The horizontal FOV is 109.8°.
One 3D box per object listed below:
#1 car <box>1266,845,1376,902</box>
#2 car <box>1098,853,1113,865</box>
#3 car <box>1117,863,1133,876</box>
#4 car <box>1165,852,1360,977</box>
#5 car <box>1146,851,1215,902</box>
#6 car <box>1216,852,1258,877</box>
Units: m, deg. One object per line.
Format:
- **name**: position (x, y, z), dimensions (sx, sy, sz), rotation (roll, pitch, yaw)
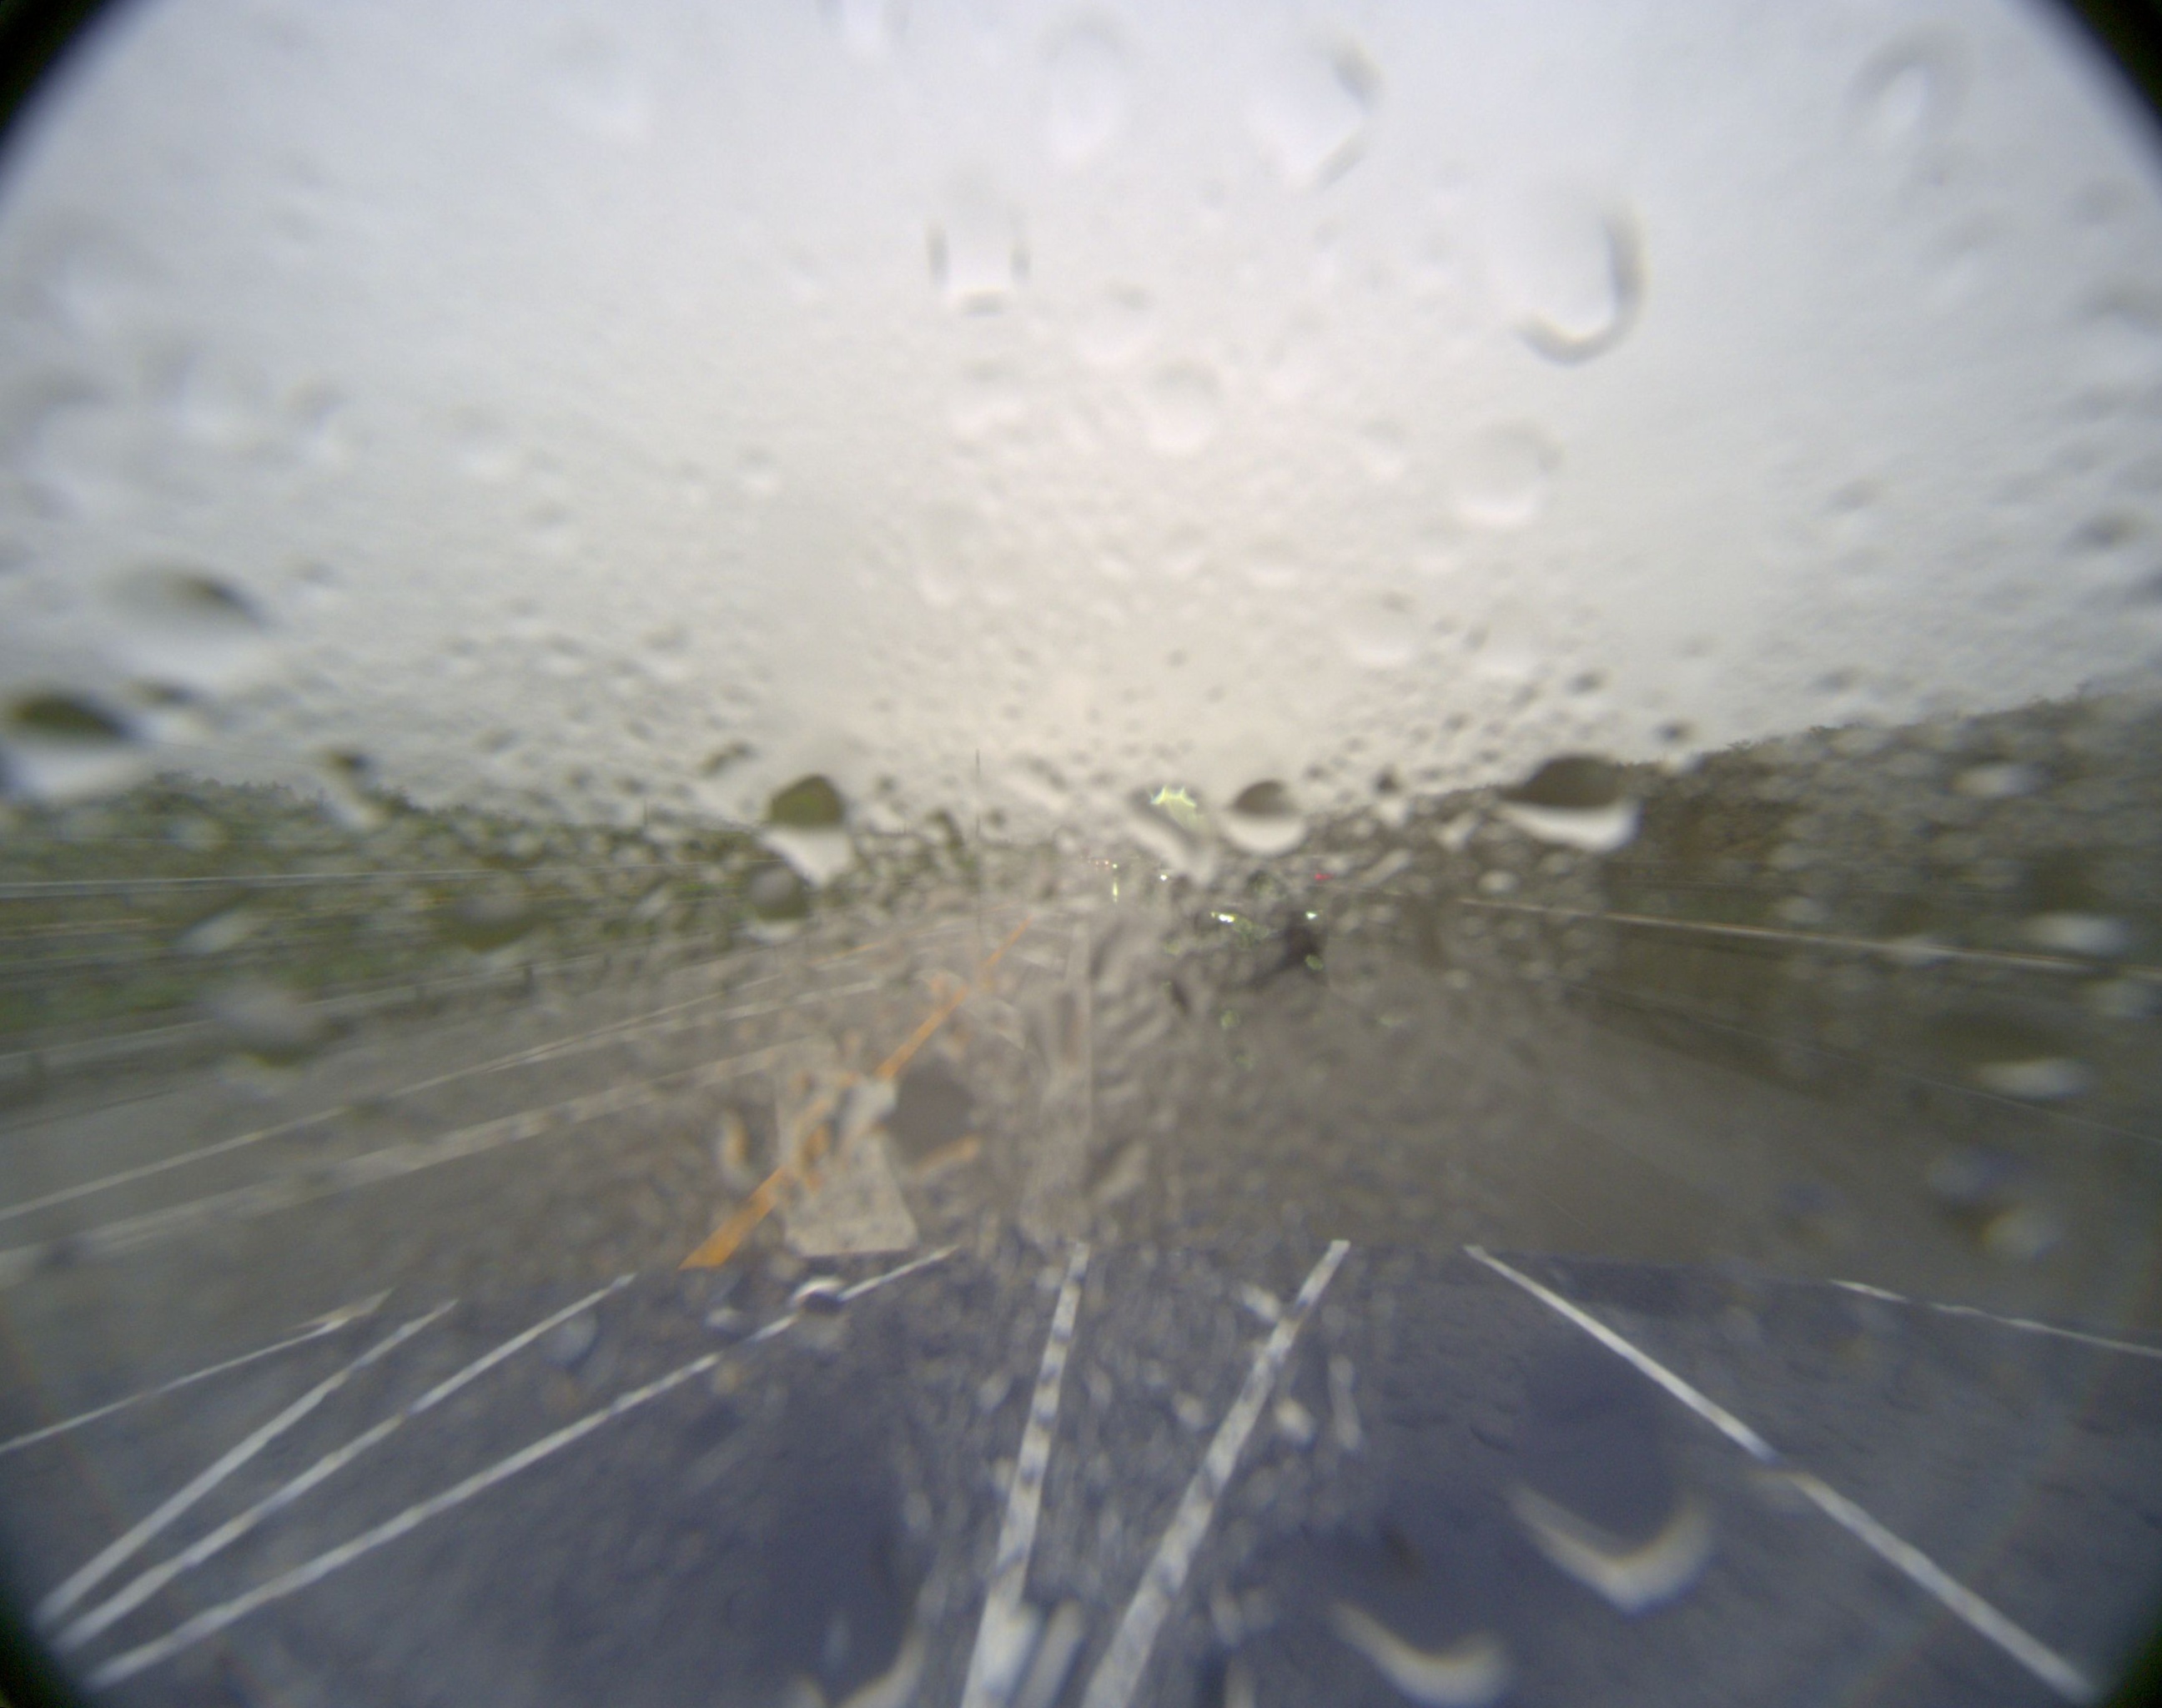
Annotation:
- **car**: position (7.247, 0.521, 23.511), dimensions (1.765, 1.519, 4.950), rotation (-2, 0, -1)
- **car**: position (3.651, 0.722, 113.412), dimensions (1.998, 1.761, 4.000), rotation (-2, 0, 1)
- **car**: position (3.789, 1.345, 65.781), dimensions (1.335, 1.105, 3.199), rotation (1, -1, 1)
- **car**: position (2.534, 0.751, 11.900), dimensions (1.944, 1.519, 4.795), rotation (0, 1, 0)
- **car**: position (3.461, 0.726, 27.215), dimensions (1.971, 1.670, 3.999), rotation (0, 1, 0)
- **car**: position (10.055, 0.644, 49.285), dimensions (1.765, 1.452, 4.696), rotation (-2, 0, 0)
